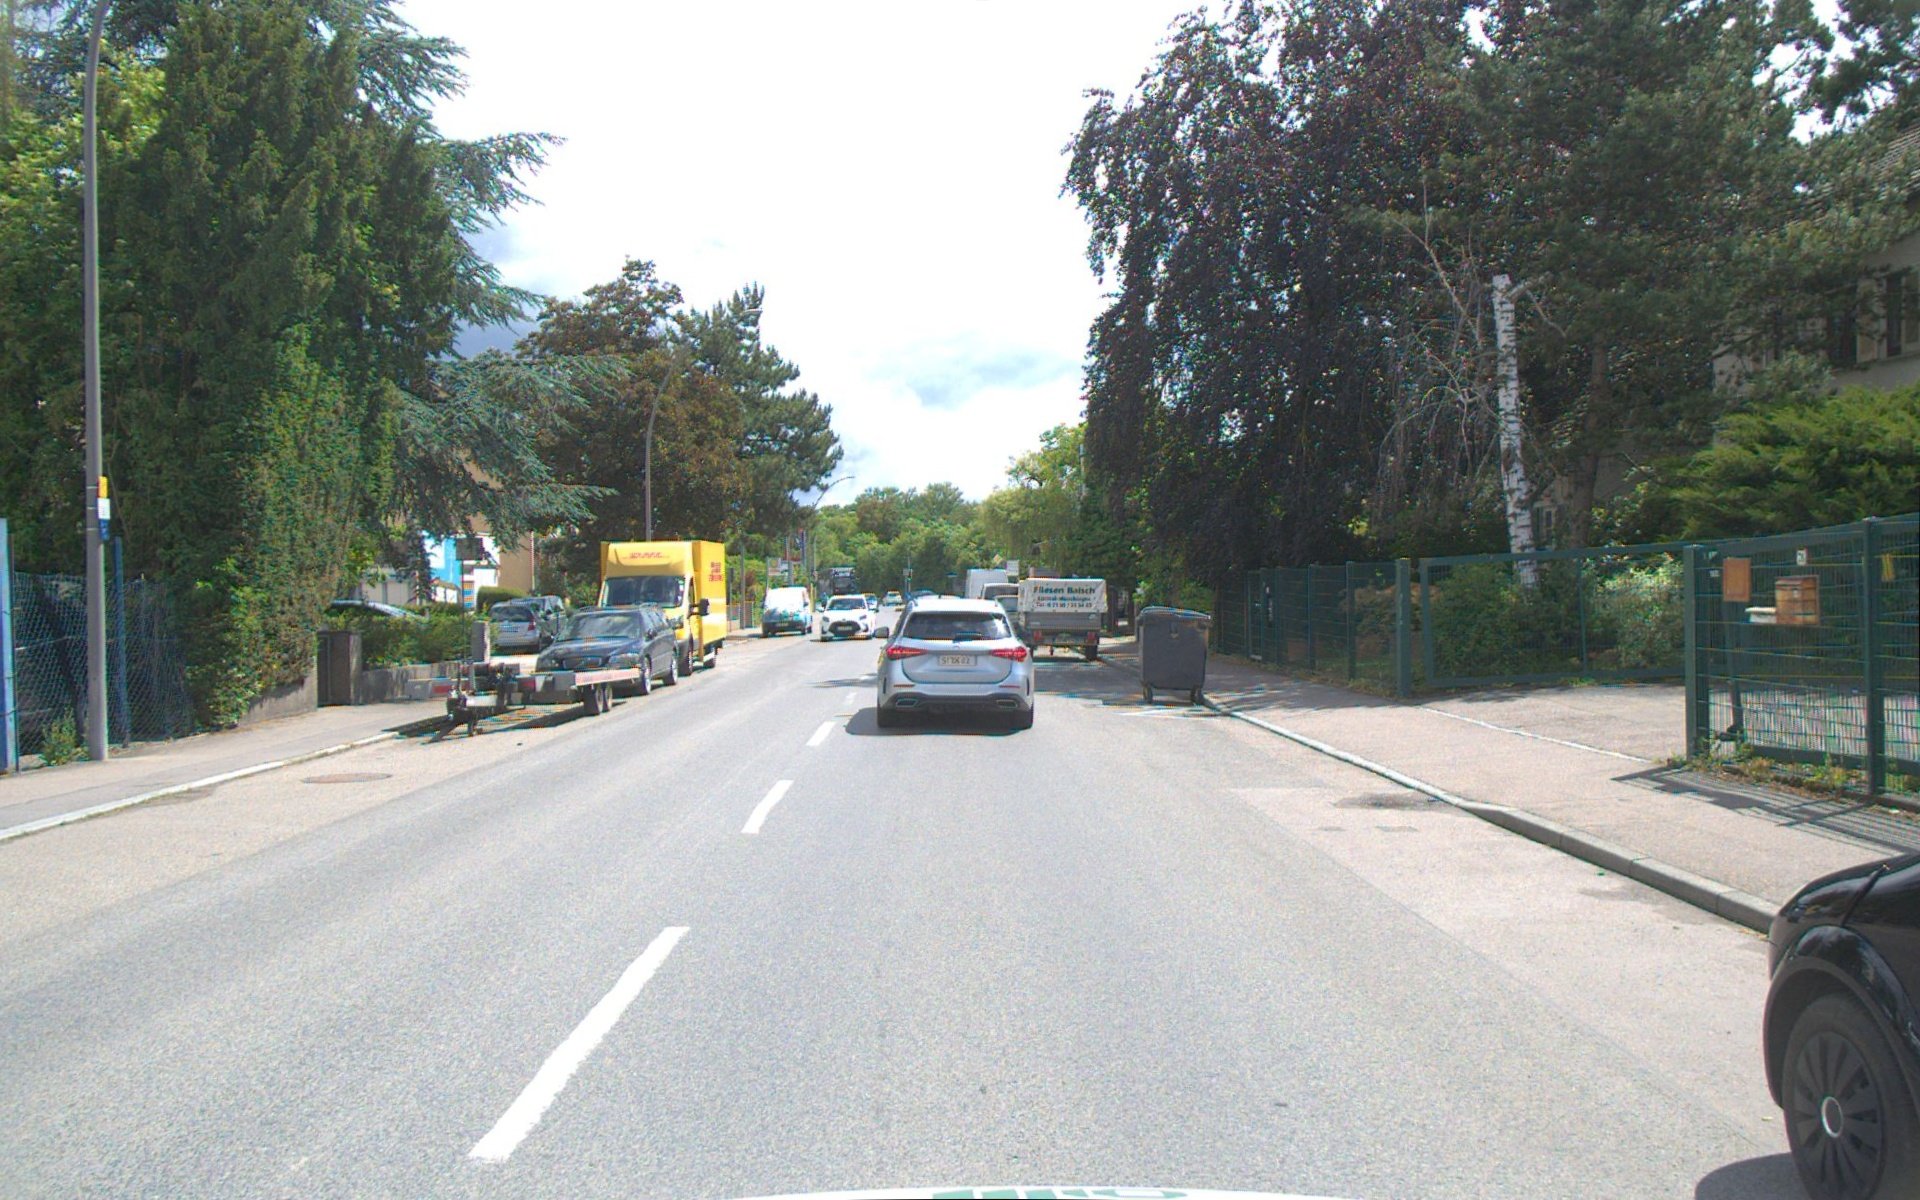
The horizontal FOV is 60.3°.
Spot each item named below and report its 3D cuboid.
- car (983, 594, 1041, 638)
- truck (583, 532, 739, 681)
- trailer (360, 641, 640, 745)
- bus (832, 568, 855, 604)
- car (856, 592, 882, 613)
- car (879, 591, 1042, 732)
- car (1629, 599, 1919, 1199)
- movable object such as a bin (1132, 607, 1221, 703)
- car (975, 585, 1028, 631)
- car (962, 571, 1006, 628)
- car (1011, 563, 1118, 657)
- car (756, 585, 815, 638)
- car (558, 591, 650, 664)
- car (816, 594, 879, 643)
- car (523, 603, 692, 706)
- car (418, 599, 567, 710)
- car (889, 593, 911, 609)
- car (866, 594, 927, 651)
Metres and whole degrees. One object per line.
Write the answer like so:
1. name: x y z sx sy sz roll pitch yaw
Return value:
1. car: 1.823 0.574 59.321 1.749 1.510 4.314 0 0 -3
2. truck: -6.378 0.094 36.173 2.032 2.863 7.078 -2 1 0
3. trailer: -5.702 1.109 21.427 2.183 0.941 5.945 -1 1 -2
4. bus: -11.520 -1.415 163.362 1.955 3.423 6.973 1 0 -6
5. car: -7.142 0.187 130.160 1.895 1.518 4.362 -2 1 -1
6. car: -0.093 0.674 19.954 1.749 1.510 4.314 0 0 -3
7. car: 2.954 0.747 3.256 1.655 1.476 3.848 -1 0 -1
8. movable object such as a bin: 3.086 0.766 23.724 1.062 1.293 1.380 1 0 -1
9. car: 1.585 0.317 64.620 1.749 1.745 4.314 0 0 -3
10. car: 1.095 -0.009 76.810 1.749 2.562 4.314 0 0 -3
11. car: 2.392 0.204 39.248 2.100 2.018 5.260 -1 0 -1
12. car: -6.851 0.407 65.439 1.895 1.952 4.362 -2 1 -1
13. car: -10.720 0.798 50.056 1.953 2.049 3.999 1 0 -1
14. car: -3.782 0.592 56.117 1.895 1.518 4.362 -2 1 -1
15. car: -5.909 0.858 28.274 2.033 1.503 4.455 -2 1 -2
16. car: -9.449 1.043 33.749 1.953 2.049 3.999 1 0 -1
17. car: -6.429 0.108 176.732 1.724 1.585 3.990 -1 0 -10
18. car: -1.889 0.633 49.364 1.720 1.585 3.999 -1 0 -2
